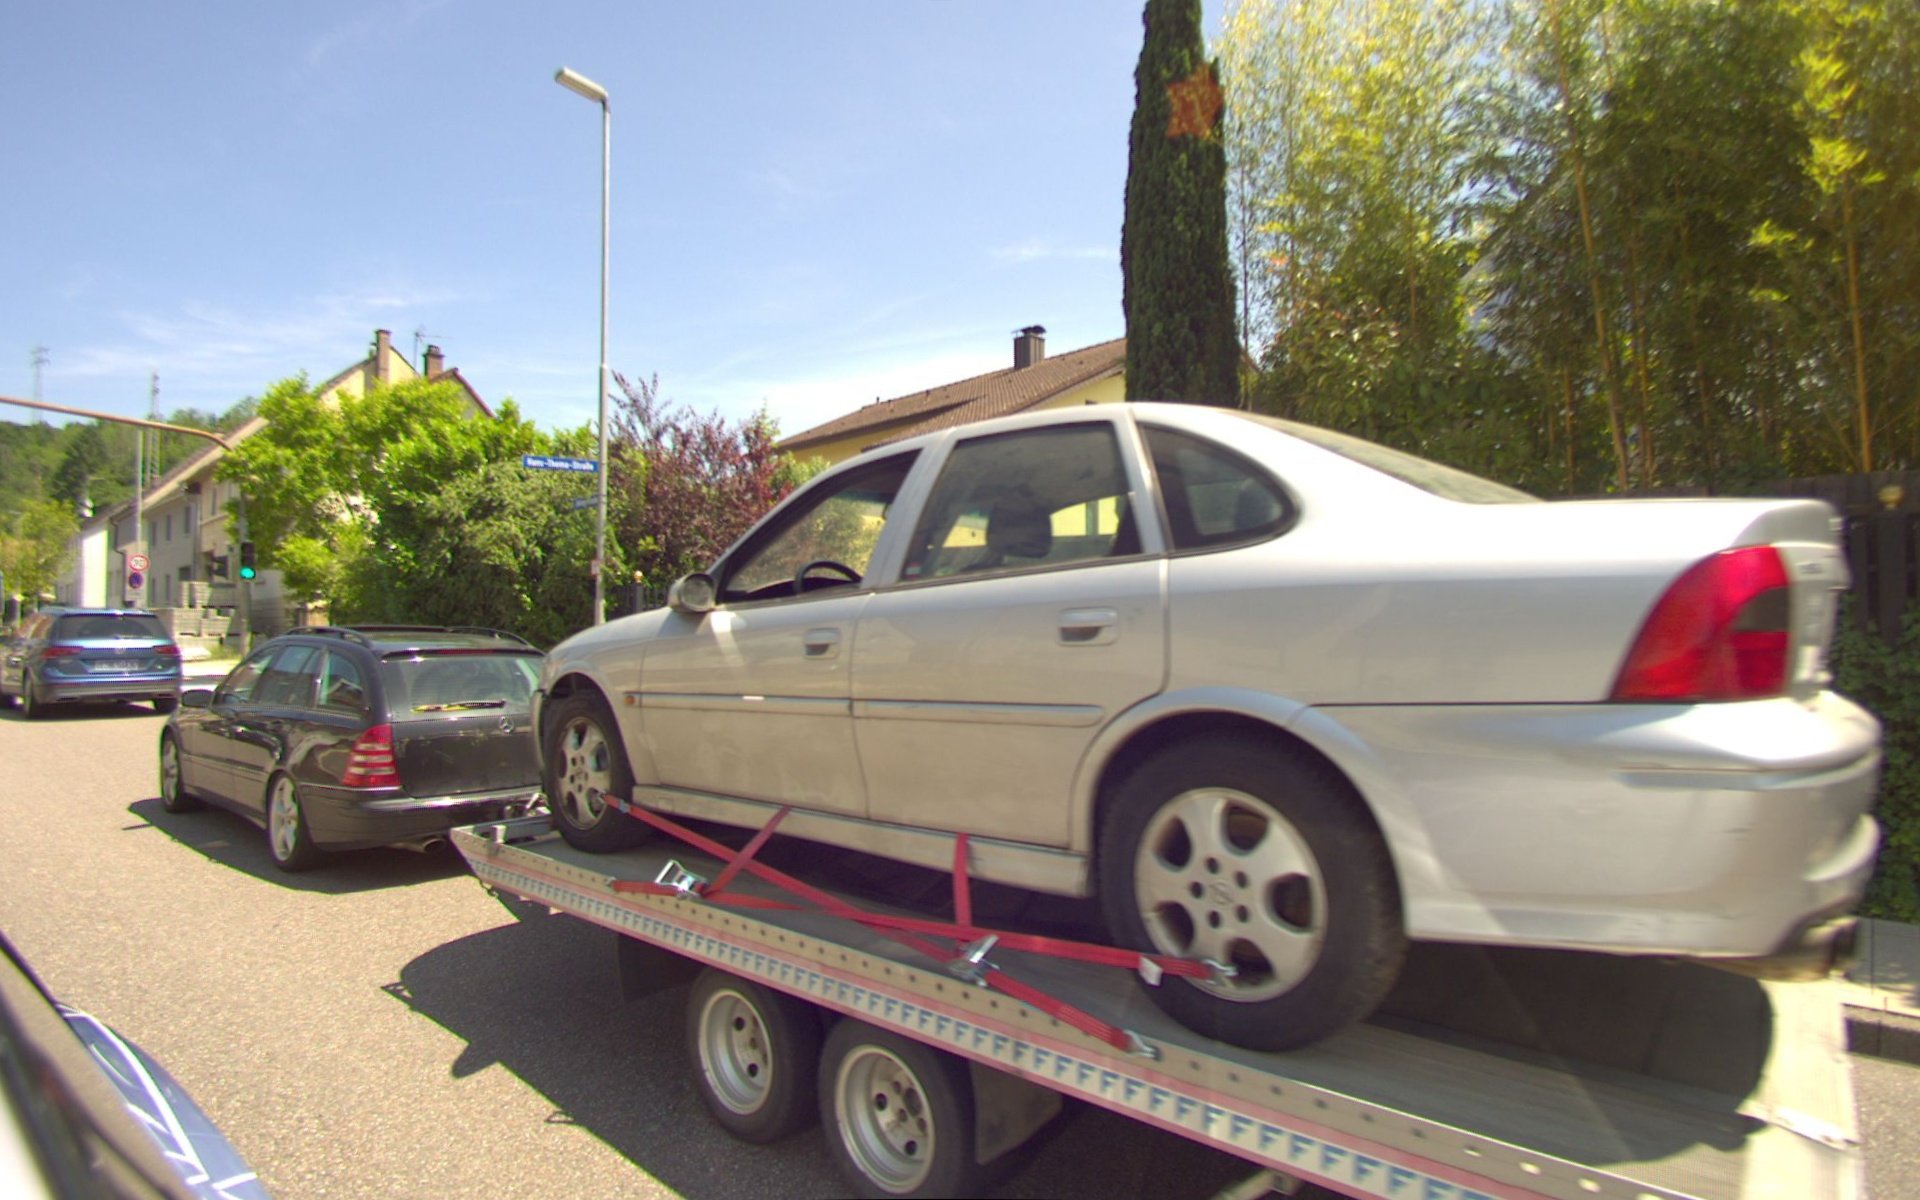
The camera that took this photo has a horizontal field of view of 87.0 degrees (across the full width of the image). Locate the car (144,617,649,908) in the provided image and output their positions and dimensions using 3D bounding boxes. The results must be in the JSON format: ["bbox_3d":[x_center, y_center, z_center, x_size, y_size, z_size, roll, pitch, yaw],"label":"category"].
[{"bbox_3d":[-4.118,0.846,7.066,4.245,1.413,1.748,-1,-1,41],"label":"car"}]

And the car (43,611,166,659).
[{"bbox_3d":[-34.252,1.348,40.573,1.847,1.804,3.559,0,0,41],"label":"car"}]

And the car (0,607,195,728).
[{"bbox_3d":[-13.963,0.974,16.126,4.611,1.658,1.868,0,-2,41],"label":"car"}]

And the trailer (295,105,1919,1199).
[{"bbox_3d":[-0.210,0.446,3.707,6.198,2.002,2.133,0,0,41],"label":"trailer"}]
